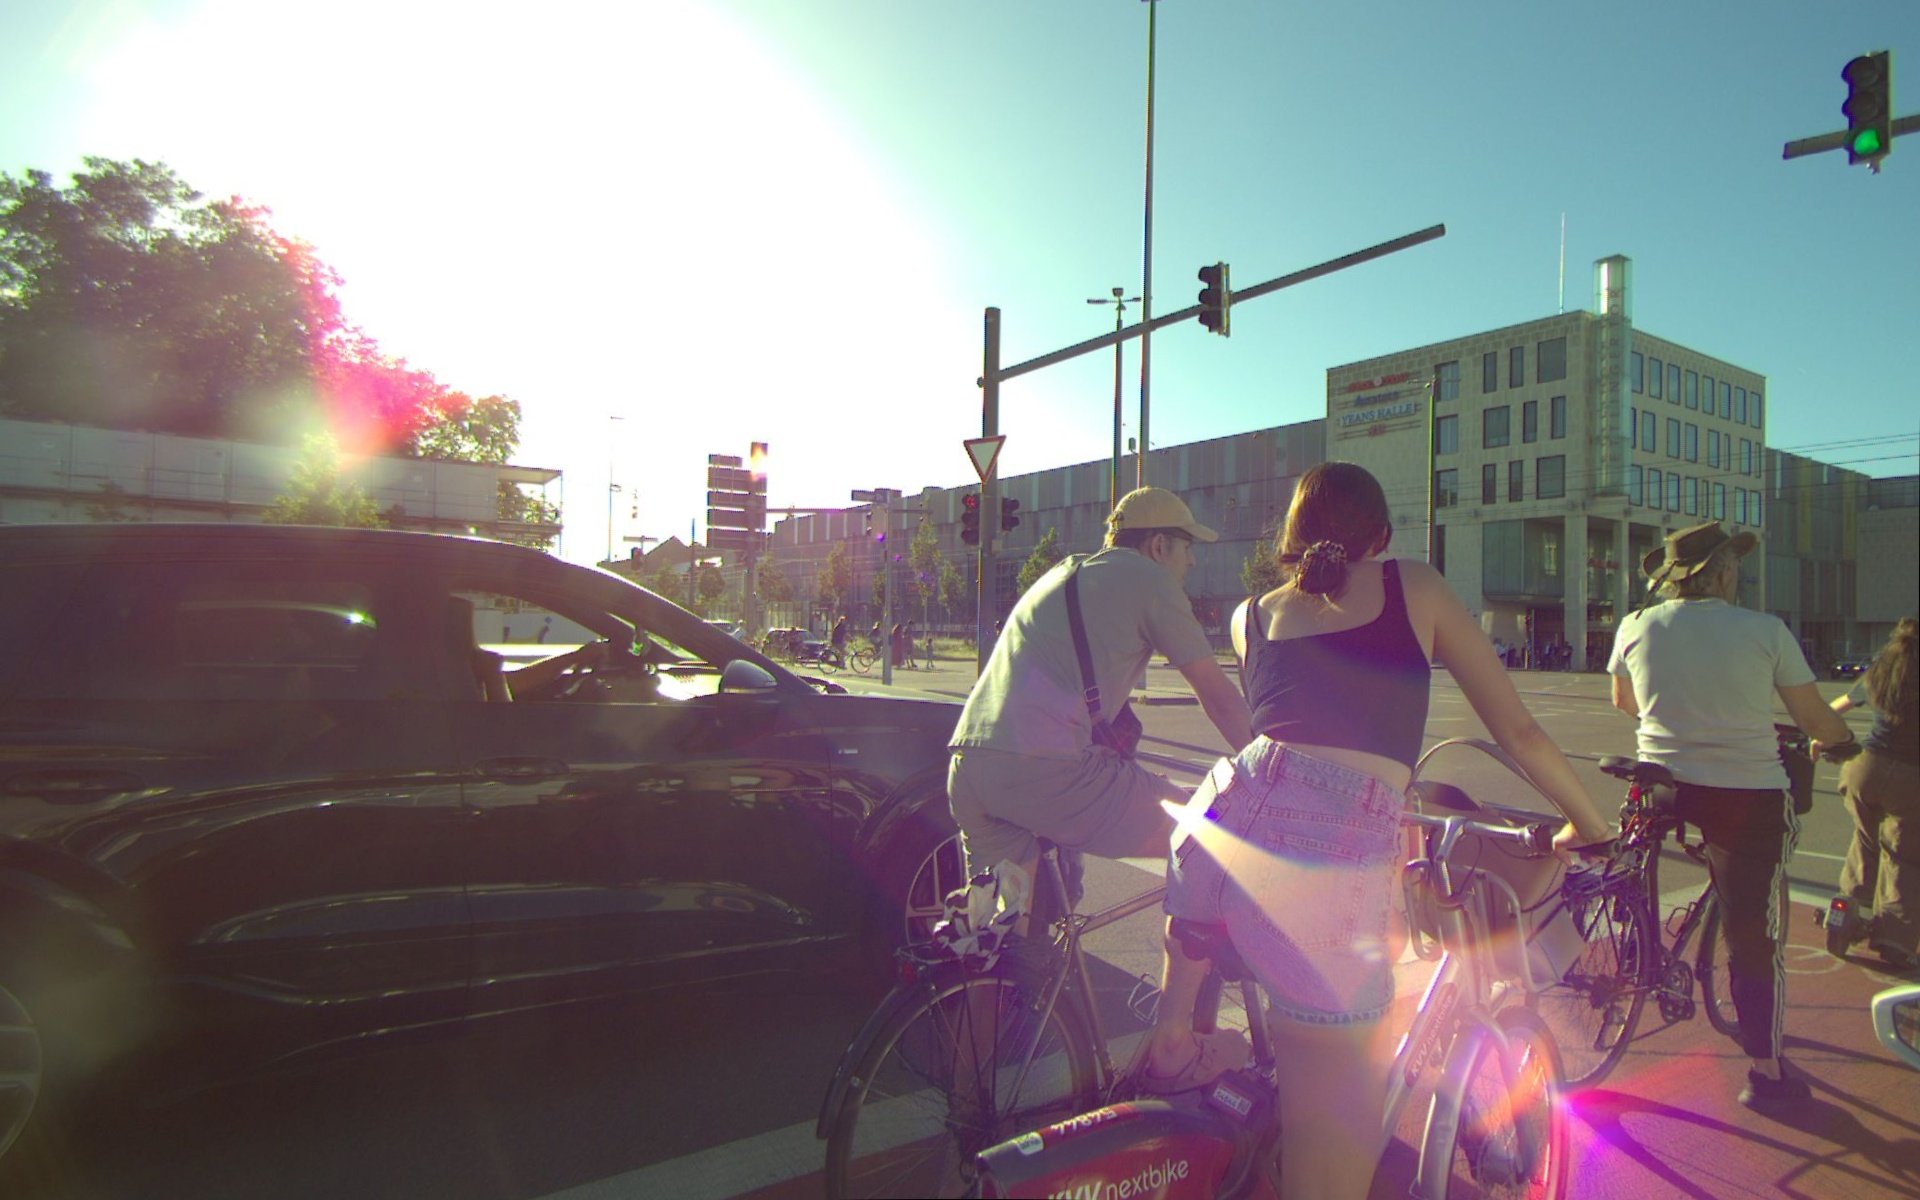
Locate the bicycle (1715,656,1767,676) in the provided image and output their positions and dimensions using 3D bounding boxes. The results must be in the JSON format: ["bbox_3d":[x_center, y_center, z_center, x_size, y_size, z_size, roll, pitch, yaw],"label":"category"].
[{"bbox_3d":[47.572,3.990,61.219,0.675,1.125,2.459,2,-2,-27],"label":"bicycle"}]

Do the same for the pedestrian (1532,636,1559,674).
[{"bbox_3d":[33.675,3.150,57.784,1.042,2.157,1.098,1,-1,17],"label":"pedestrian"}]

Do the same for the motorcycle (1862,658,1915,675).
[{"bbox_3d":[67.230,4.819,72.758,0.908,1.009,2.649,2,0,-36],"label":"motorcycle"}]

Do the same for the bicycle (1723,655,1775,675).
[{"bbox_3d":[48.306,3.999,61.544,0.675,1.125,2.458,2,-2,-28],"label":"bicycle"}]

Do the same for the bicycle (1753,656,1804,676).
[{"bbox_3d":[52.122,4.197,63.978,0.675,1.125,2.458,2,-2,-28],"label":"bicycle"}]

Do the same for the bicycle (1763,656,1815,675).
[{"bbox_3d":[53.555,4.249,64.905,0.824,1.125,2.458,2,-2,-28],"label":"bicycle"}]

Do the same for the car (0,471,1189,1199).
[{"bbox_3d":[-1.615,0.610,3.840,4.740,1.684,2.182,2,-2,-33],"label":"car"}]

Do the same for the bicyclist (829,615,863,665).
[{"bbox_3d":[-3.674,1.283,32.273,0.929,1.565,0.645,1,-1,-26],"label":"bicyclist"}]

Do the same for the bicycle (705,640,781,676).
[{"bbox_3d":[-6.346,1.686,29.431,2.054,0.991,0.798,1,-1,-32],"label":"bicycle"}]

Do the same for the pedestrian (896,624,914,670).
[{"bbox_3d":[-1.938,1.661,35.583,0.446,1.587,0.516,1,-1,-30],"label":"pedestrian"}]

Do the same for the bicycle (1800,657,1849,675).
[{"bbox_3d":[59.244,4.504,68.865,0.652,1.125,2.458,2,-2,-28],"label":"bicycle"}]

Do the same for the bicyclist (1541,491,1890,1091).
[{"bbox_3d":[2.500,0.553,3.347,0.777,1.691,0.695,2,-2,-32],"label":"bicyclist"}]

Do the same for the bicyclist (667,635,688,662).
[{"bbox_3d":[-13.692,2.352,48.749,0.796,1.315,0.770,1,-1,-32],"label":"bicyclist"}]

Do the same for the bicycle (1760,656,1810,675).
[{"bbox_3d":[54.002,4.281,65.791,0.675,1.125,2.458,2,-2,-28],"label":"bicycle"}]

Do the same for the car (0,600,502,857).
[{"bbox_3d":[-5.427,0.709,6.310,4.474,1.370,1.762,2,-1,-31],"label":"car"}]

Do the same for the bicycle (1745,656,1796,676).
[{"bbox_3d":[51.085,4.152,63.353,0.586,1.125,2.458,2,-2,-28],"label":"bicycle"}]

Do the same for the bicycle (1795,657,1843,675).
[{"bbox_3d":[58.590,4.471,68.522,0.652,1.125,2.458,2,-2,-28],"label":"bicycle"}]

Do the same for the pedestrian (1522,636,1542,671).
[{"bbox_3d":[33.820,3.158,59.400,0.900,2.040,1.023,1,-1,25],"label":"pedestrian"}]

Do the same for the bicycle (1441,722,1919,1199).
[{"bbox_3d":[2.430,1.014,3.291,1.780,1.108,0.703,2,-2,-32],"label":"bicycle"}]

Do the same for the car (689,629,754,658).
[{"bbox_3d":[-12.253,2.184,51.469,1.980,1.394,3.962,1,-1,-34],"label":"car"}]

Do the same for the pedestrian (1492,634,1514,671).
[{"bbox_3d":[32.721,3.159,60.496,0.939,2.152,0.888,2,-2,-41],"label":"pedestrian"}]

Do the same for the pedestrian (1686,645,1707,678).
[{"bbox_3d":[40.440,3.350,55.150,0.748,1.763,0.746,2,-1,-32],"label":"pedestrian"}]

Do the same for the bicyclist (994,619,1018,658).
[{"bbox_3d":[1.806,1.517,39.570,0.611,1.525,0.749,2,-1,-33],"label":"bicyclist"}]

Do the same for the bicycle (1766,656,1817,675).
[{"bbox_3d":[55.020,4.325,66.504,0.824,1.125,2.458,2,-2,-28],"label":"bicycle"}]

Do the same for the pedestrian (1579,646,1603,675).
[{"bbox_3d":[35.290,3.373,56.183,0.927,1.592,0.842,1,-1,15],"label":"pedestrian"}]

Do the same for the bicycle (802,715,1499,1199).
[{"bbox_3d":[0.561,0.911,2.563,1.795,1.131,0.620,2,-2,-31],"label":"bicycle"}]

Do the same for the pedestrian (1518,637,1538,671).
[{"bbox_3d":[34.487,3.266,61.003,0.899,2.040,1.024,1,-1,20],"label":"pedestrian"}]

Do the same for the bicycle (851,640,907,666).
[{"bbox_3d":[-3.089,2.003,38.417,2.061,0.939,0.796,1,-1,-42],"label":"bicycle"}]

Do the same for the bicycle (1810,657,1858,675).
[{"bbox_3d":[60.818,4.568,69.909,0.652,1.125,2.458,2,-2,-28],"label":"bicycle"}]

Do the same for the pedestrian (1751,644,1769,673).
[{"bbox_3d":[56.376,4.131,70.799,0.933,2.008,1.004,0,-1,36],"label":"pedestrian"}]

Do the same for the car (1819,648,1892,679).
[{"bbox_3d":[49.400,3.461,55.381,4.247,1.601,1.927,2,-2,-32],"label":"car"}]

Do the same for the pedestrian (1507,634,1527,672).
[{"bbox_3d":[32.226,3.063,58.135,0.881,2.152,0.947,1,-1,22],"label":"pedestrian"}]

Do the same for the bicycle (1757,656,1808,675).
[{"bbox_3d":[52.751,4.216,64.424,0.675,1.125,2.458,2,-2,-28],"label":"bicycle"}]

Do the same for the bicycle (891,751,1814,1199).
[{"bbox_3d":[0.809,0.912,1.849,1.780,1.108,0.647,2,-2,-31],"label":"bicycle"}]

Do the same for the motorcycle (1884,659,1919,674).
[{"bbox_3d":[70.250,4.946,74.332,0.908,1.009,2.649,2,0,-36],"label":"motorcycle"}]

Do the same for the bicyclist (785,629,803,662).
[{"bbox_3d":[-6.477,1.770,39.253,0.627,1.287,0.803,1,-1,-14],"label":"bicyclist"}]

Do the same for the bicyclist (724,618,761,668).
[{"bbox_3d":[-6.384,1.253,29.427,0.834,1.420,0.799,1,-1,-32],"label":"bicyclist"}]

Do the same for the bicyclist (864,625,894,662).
[{"bbox_3d":[-3.093,1.662,38.422,0.835,1.374,0.796,1,-1,-41],"label":"bicyclist"}]

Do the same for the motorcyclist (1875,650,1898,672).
[{"bbox_3d":[67.186,4.414,72.818,0.908,1.490,1.029,2,0,-37],"label":"motorcyclist"}]

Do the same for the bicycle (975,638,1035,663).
[{"bbox_3d":[1.789,1.992,39.558,2.370,0.953,0.749,2,-2,-34],"label":"bicycle"}]

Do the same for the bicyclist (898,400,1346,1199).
[{"bbox_3d":[0.392,0.423,2.459,0.884,1.596,0.620,2,-2,-31],"label":"bicyclist"}]

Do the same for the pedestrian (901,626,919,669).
[{"bbox_3d":[-1.854,1.753,37.236,0.446,1.587,0.516,1,-1,-30],"label":"pedestrian"}]

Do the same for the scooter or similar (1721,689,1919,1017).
[{"bbox_3d":[4.144,1.036,4.554,1.468,1.191,0.638,2,-1,-33],"label":"scooter or similar"}]

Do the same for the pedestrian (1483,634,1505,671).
[{"bbox_3d":[31.711,3.122,59.642,0.939,2.152,0.888,2,-2,-41],"label":"pedestrian"}]

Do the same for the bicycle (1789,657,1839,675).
[{"bbox_3d":[57.903,4.451,68.103,0.824,1.125,2.458,2,-2,-28],"label":"bicycle"}]

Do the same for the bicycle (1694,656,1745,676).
[{"bbox_3d":[45.259,3.918,59.870,0.650,1.127,2.391,2,-2,-29],"label":"bicycle"}]

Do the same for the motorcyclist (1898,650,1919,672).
[{"bbox_3d":[70.288,4.515,74.320,0.908,1.596,1.129,2,0,-37],"label":"motorcyclist"}]

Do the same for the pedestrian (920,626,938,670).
[{"bbox_3d":[-1.138,1.733,36.574,0.446,1.587,0.516,1,-1,-30],"label":"pedestrian"}]

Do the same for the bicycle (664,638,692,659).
[{"bbox_3d":[-13.687,2.352,48.741,0.796,0.939,2.060,1,-1,-31],"label":"bicycle"}]

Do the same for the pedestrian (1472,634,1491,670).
[{"bbox_3d":[31.815,3.141,61.273,0.883,2.152,0.944,0,-2,34],"label":"pedestrian"}]

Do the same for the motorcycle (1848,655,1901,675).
[{"bbox_3d":[65.201,4.621,71.609,0.908,1.233,2.649,2,0,-36],"label":"motorcycle"}]

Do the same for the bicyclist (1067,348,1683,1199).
[{"bbox_3d":[0.727,0.469,1.797,0.837,1.563,0.647,2,-2,-30],"label":"bicyclist"}]

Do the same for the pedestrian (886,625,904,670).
[{"bbox_3d":[-2.315,1.683,36.006,0.446,1.587,0.516,1,-1,-30],"label":"pedestrian"}]

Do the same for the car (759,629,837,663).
[{"bbox_3d":[-7.253,2.003,44.655,1.980,1.394,3.962,1,-1,-34],"label":"car"}]

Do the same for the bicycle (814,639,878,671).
[{"bbox_3d":[-3.663,1.756,32.265,1.952,1.010,0.645,1,-1,-26],"label":"bicycle"}]

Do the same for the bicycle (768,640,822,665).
[{"bbox_3d":[-6.460,2.033,39.243,2.042,0.939,0.803,1,-1,-14],"label":"bicycle"}]

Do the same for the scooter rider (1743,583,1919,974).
[{"bbox_3d":[4.178,0.730,4.566,1.105,1.564,0.638,2,-1,-33],"label":"scooter rider"}]

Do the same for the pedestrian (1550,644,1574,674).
[{"bbox_3d":[34.856,3.387,58.201,0.988,1.672,0.949,1,-1,18],"label":"pedestrian"}]

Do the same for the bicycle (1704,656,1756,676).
[{"bbox_3d":[46.391,3.948,60.570,0.676,1.125,2.457,2,-2,-29],"label":"bicycle"}]

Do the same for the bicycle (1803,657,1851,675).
[{"bbox_3d":[59.782,4.536,69.254,0.623,1.125,2.458,2,-2,-28],"label":"bicycle"}]
